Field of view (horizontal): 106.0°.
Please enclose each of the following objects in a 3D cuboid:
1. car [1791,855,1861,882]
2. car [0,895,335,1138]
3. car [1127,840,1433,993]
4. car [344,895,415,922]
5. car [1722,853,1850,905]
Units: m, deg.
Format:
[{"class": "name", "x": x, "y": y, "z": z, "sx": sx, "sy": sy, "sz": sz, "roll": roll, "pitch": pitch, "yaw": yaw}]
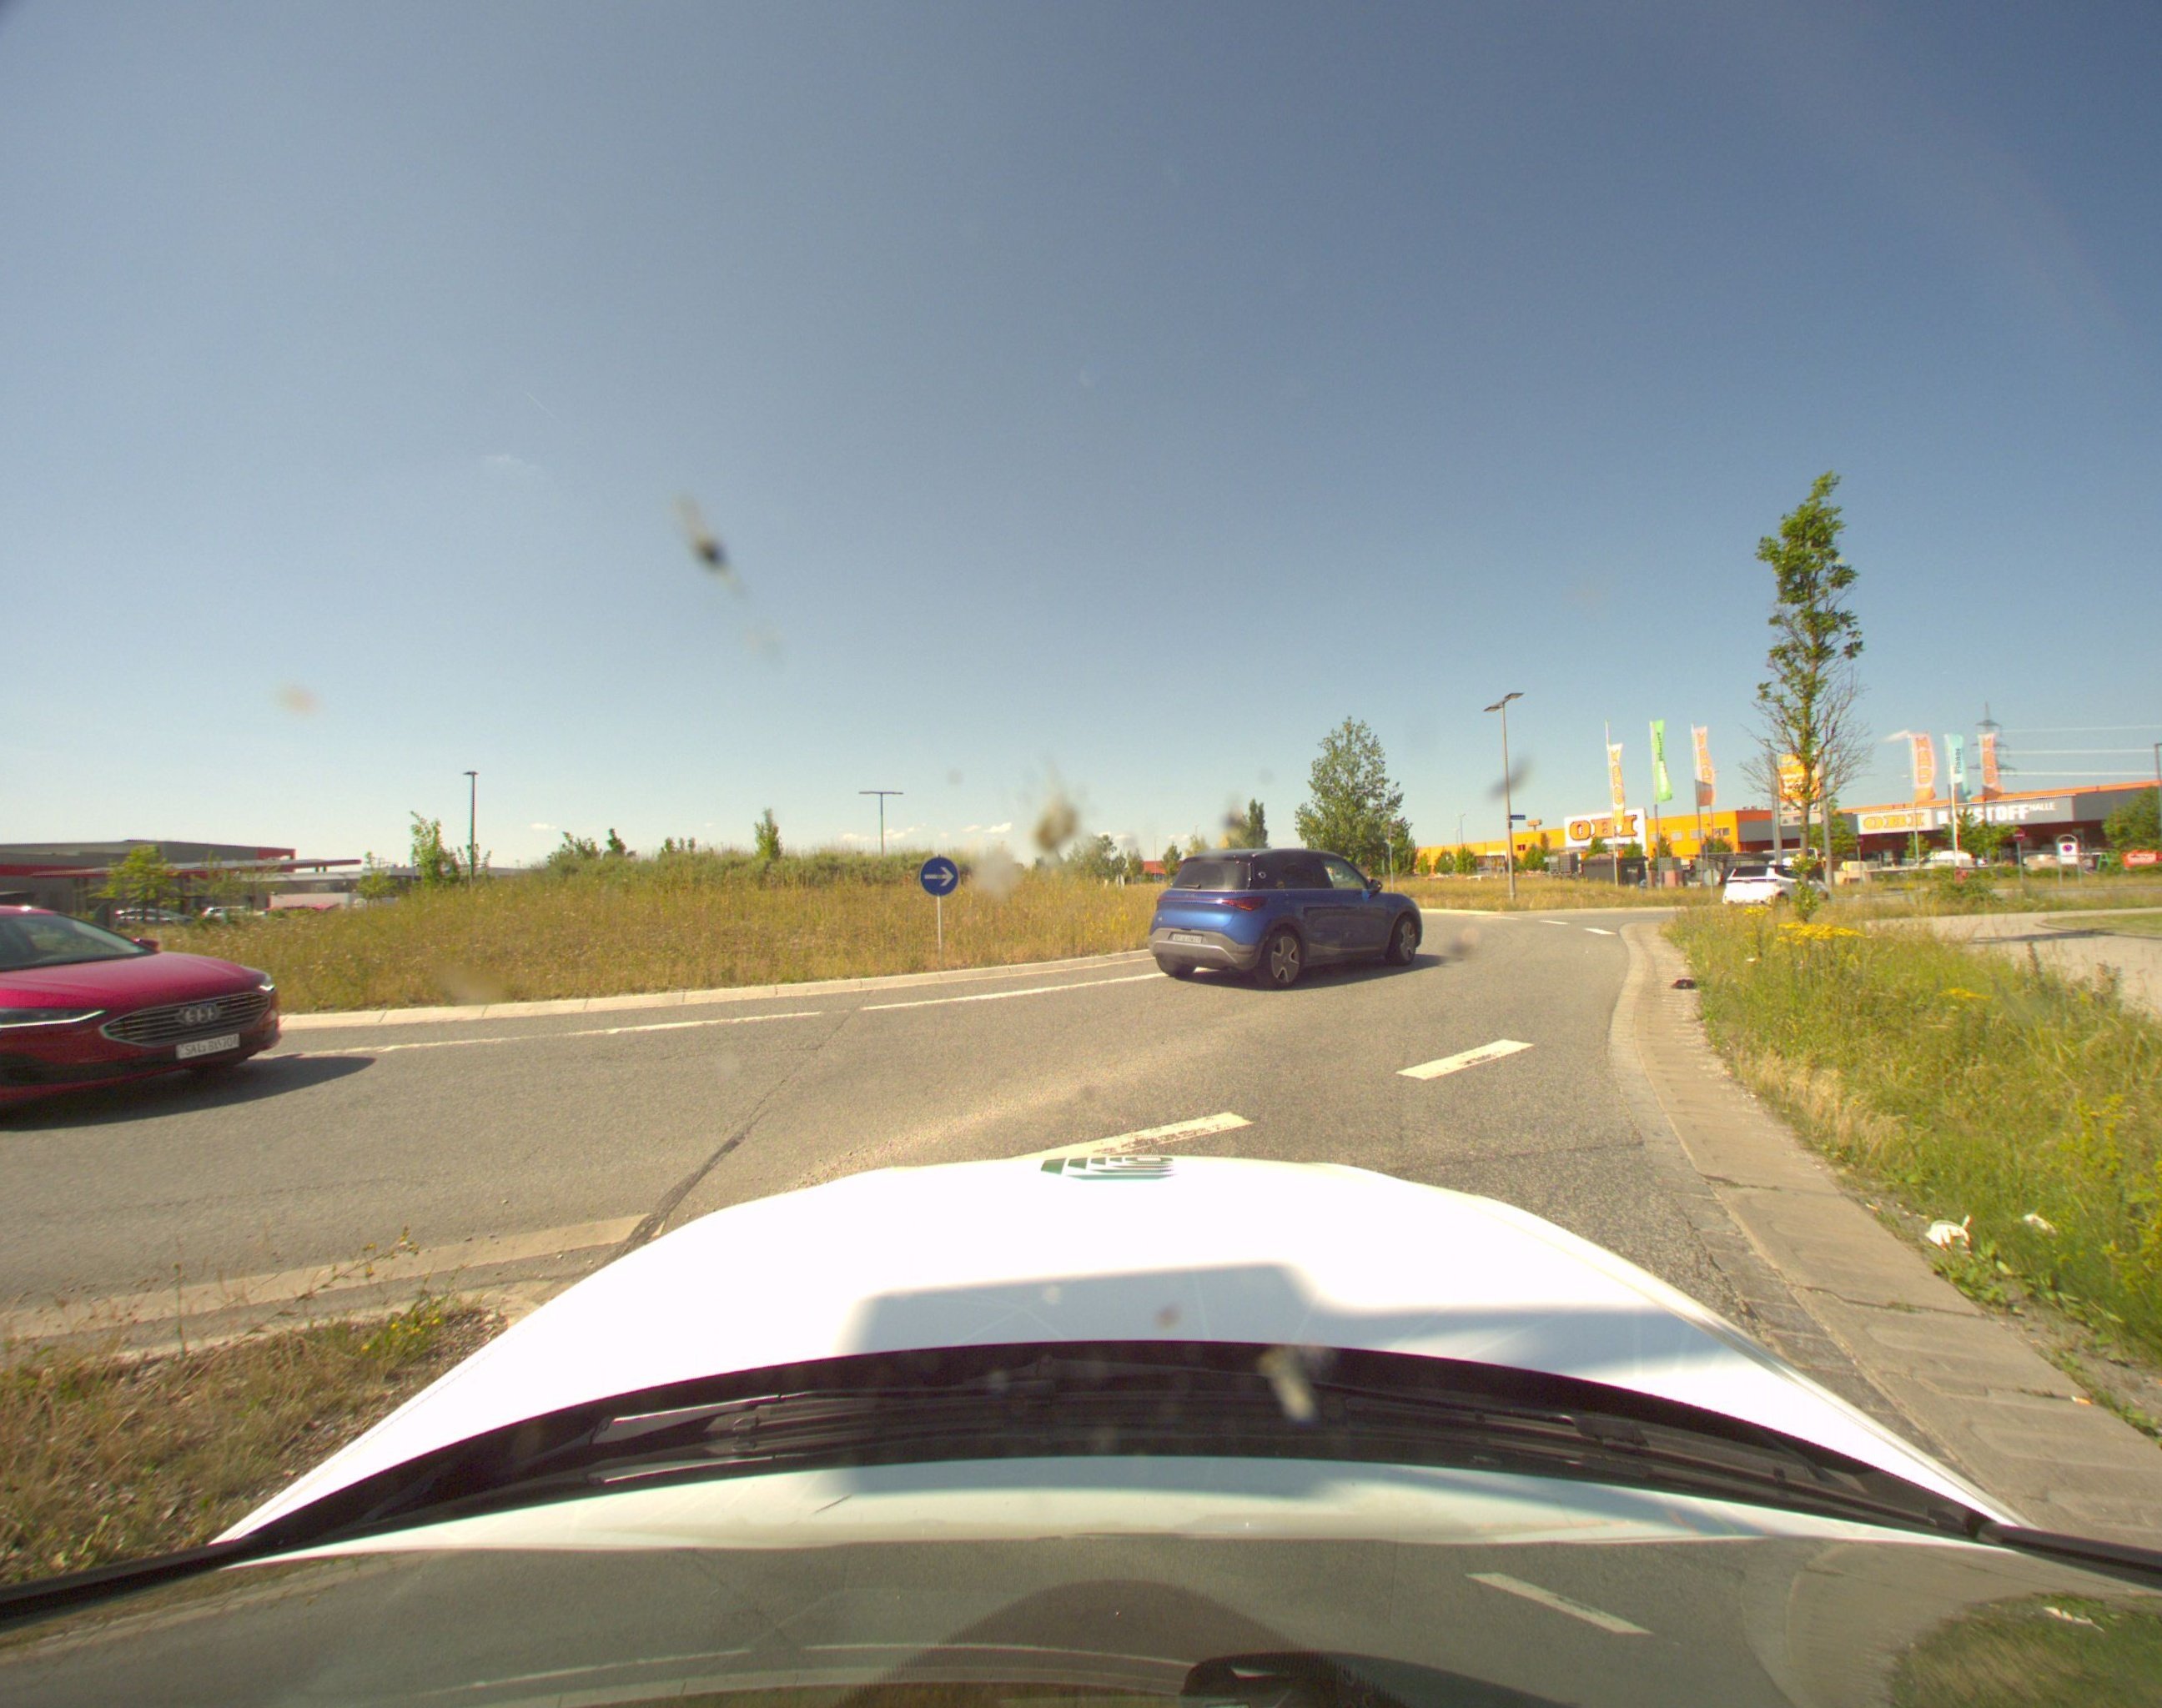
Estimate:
[{"class": "car", "x": 51.263, "y": 1.023, "z": 56.041, "sx": 3.766, "sy": 1.841, "sz": 1.692, "roll": 1, "pitch": -3, "yaw": -13}, {"class": "car", "x": -8.372, "y": 1.117, "z": 6.057, "sx": 4.085, "sy": 1.416, "sz": 1.810, "roll": -2, "pitch": -1, "yaw": 4}, {"class": "car", "x": 2.756, "y": 0.676, "z": 10.832, "sx": 4.101, "sy": 1.635, "sz": 1.835, "roll": -1, "pitch": -1, "yaw": -39}, {"class": "car", "x": -56.682, "y": 4.360, "z": 65.963, "sx": 1.994, "sy": 2.014, "sz": 5.117, "roll": -1, "pitch": -3, "yaw": -10}, {"class": "car", "x": 21.886, "y": 0.776, "z": 25.299, "sx": 3.350, "sy": 1.441, "sz": 1.504, "roll": -1, "pitch": -2, "yaw": -19}]
